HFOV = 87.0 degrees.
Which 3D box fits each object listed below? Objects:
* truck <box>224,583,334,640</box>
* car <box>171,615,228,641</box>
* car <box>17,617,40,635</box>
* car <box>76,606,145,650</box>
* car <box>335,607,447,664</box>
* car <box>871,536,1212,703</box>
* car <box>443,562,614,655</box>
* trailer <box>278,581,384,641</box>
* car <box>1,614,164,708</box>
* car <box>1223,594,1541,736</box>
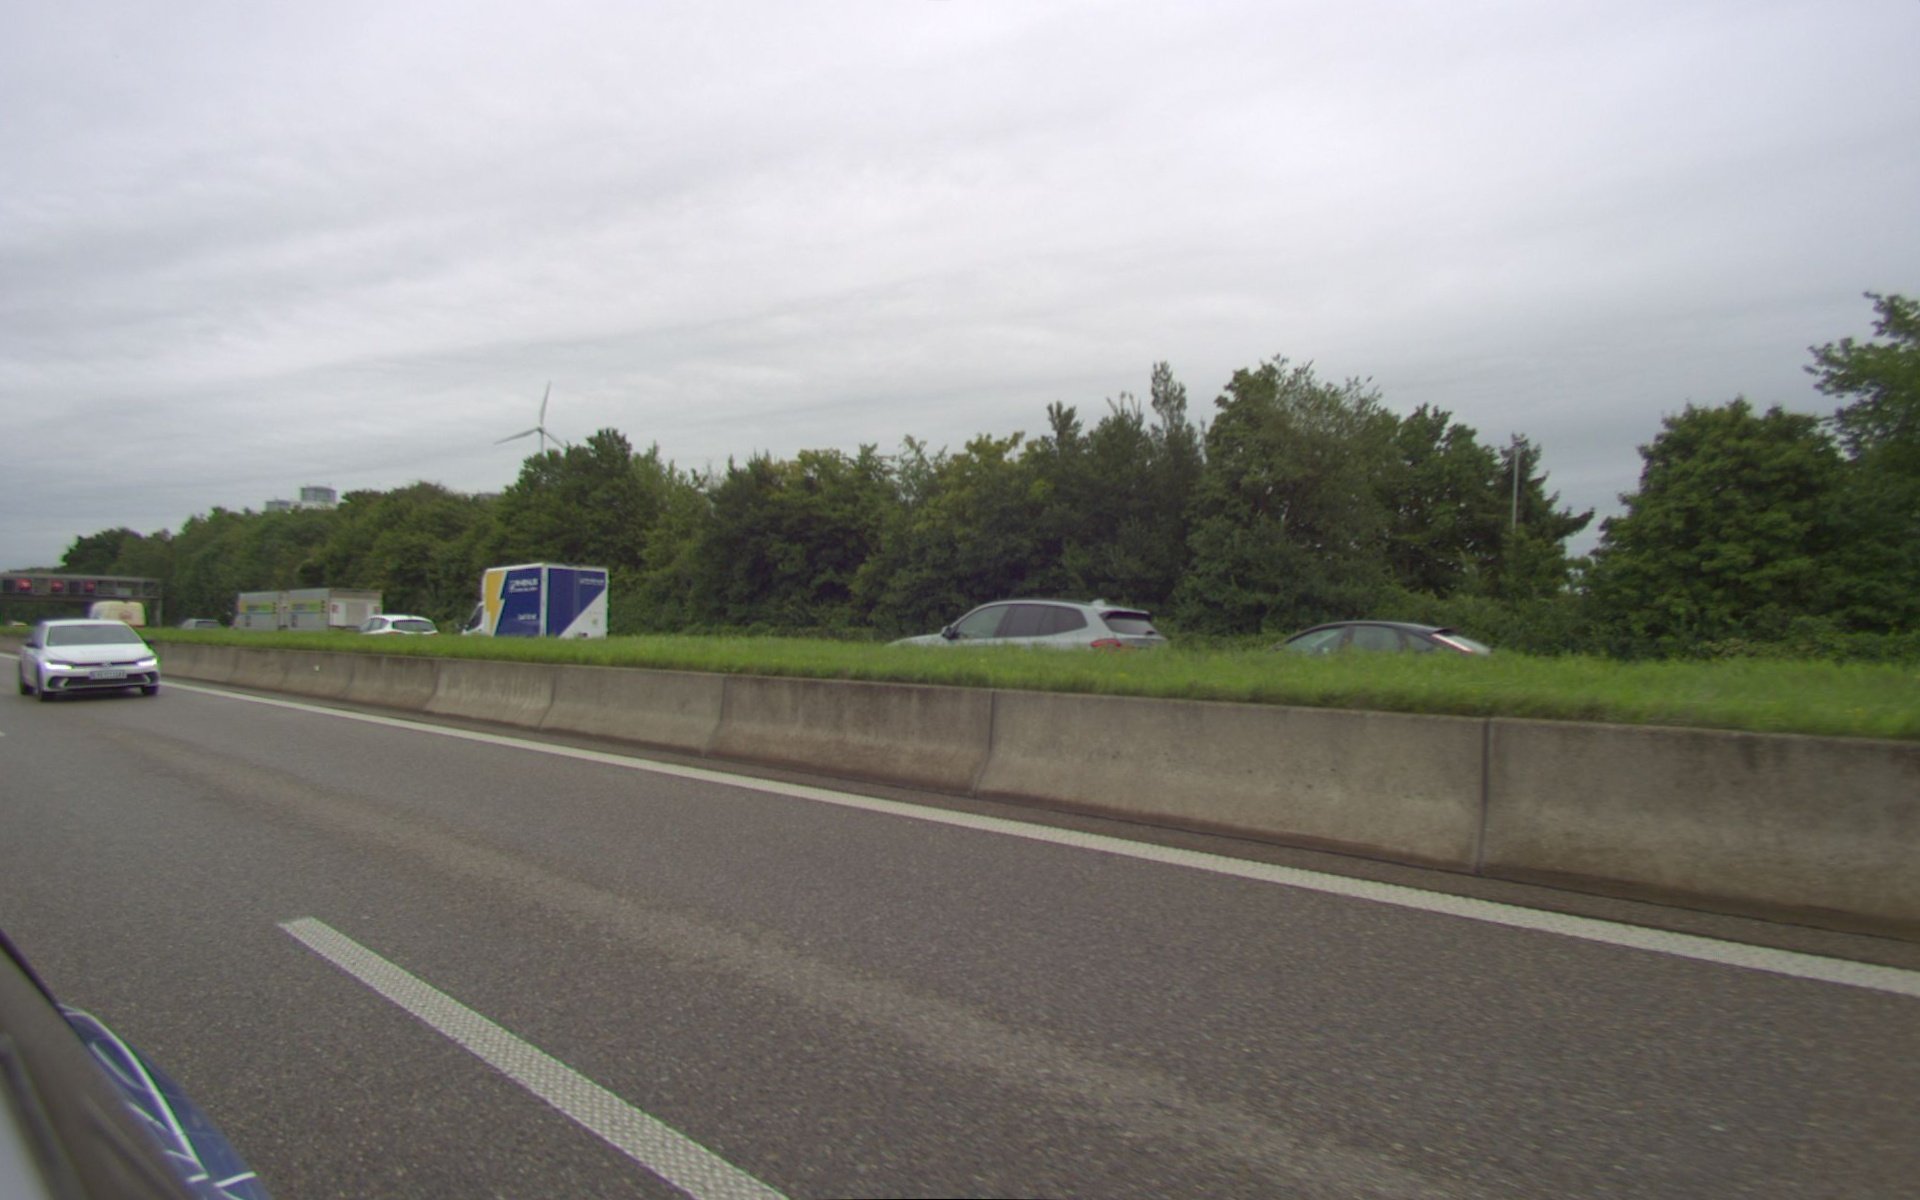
[{"bbox_3d":[-42.288,0.718,62.633,11.352,3.245,2.854,-1,0,41],"label":"truck"},{"bbox_3d":[-45.173,1.628,60.073,3.999,1.423,1.972,-1,0,42],"label":"car"},{"bbox_3d":[-107.373,3.000,116.655,3.998,2.029,1.603,0,0,41],"label":"car"},{"bbox_3d":[-50.560,1.629,60.163,7.319,2.403,2.037,-1,0,41],"label":"car"},{"bbox_3d":[-18.054,1.082,32.048,4.147,1.674,1.803,-1,0,41],"label":"car"},{"bbox_3d":[1.069,0.278,14.582,4.515,2.029,2.099,-1,-1,40],"label":"car"},{"bbox_3d":[-14.376,0.290,33.388,7.313,2.755,2.297,-1,0,42],"label":"car"},{"bbox_3d":[-35.069,0.609,56.268,7.867,3.100,2.749,-1,0,40],"label":"trailer"},{"bbox_3d":[-17.103,1.107,19.648,4.661,1.630,1.735,-1,-2,41],"label":"car"},{"bbox_3d":[6.019,0.832,14.665,3.881,1.762,1.803,-1,0,41],"label":"car"}]
